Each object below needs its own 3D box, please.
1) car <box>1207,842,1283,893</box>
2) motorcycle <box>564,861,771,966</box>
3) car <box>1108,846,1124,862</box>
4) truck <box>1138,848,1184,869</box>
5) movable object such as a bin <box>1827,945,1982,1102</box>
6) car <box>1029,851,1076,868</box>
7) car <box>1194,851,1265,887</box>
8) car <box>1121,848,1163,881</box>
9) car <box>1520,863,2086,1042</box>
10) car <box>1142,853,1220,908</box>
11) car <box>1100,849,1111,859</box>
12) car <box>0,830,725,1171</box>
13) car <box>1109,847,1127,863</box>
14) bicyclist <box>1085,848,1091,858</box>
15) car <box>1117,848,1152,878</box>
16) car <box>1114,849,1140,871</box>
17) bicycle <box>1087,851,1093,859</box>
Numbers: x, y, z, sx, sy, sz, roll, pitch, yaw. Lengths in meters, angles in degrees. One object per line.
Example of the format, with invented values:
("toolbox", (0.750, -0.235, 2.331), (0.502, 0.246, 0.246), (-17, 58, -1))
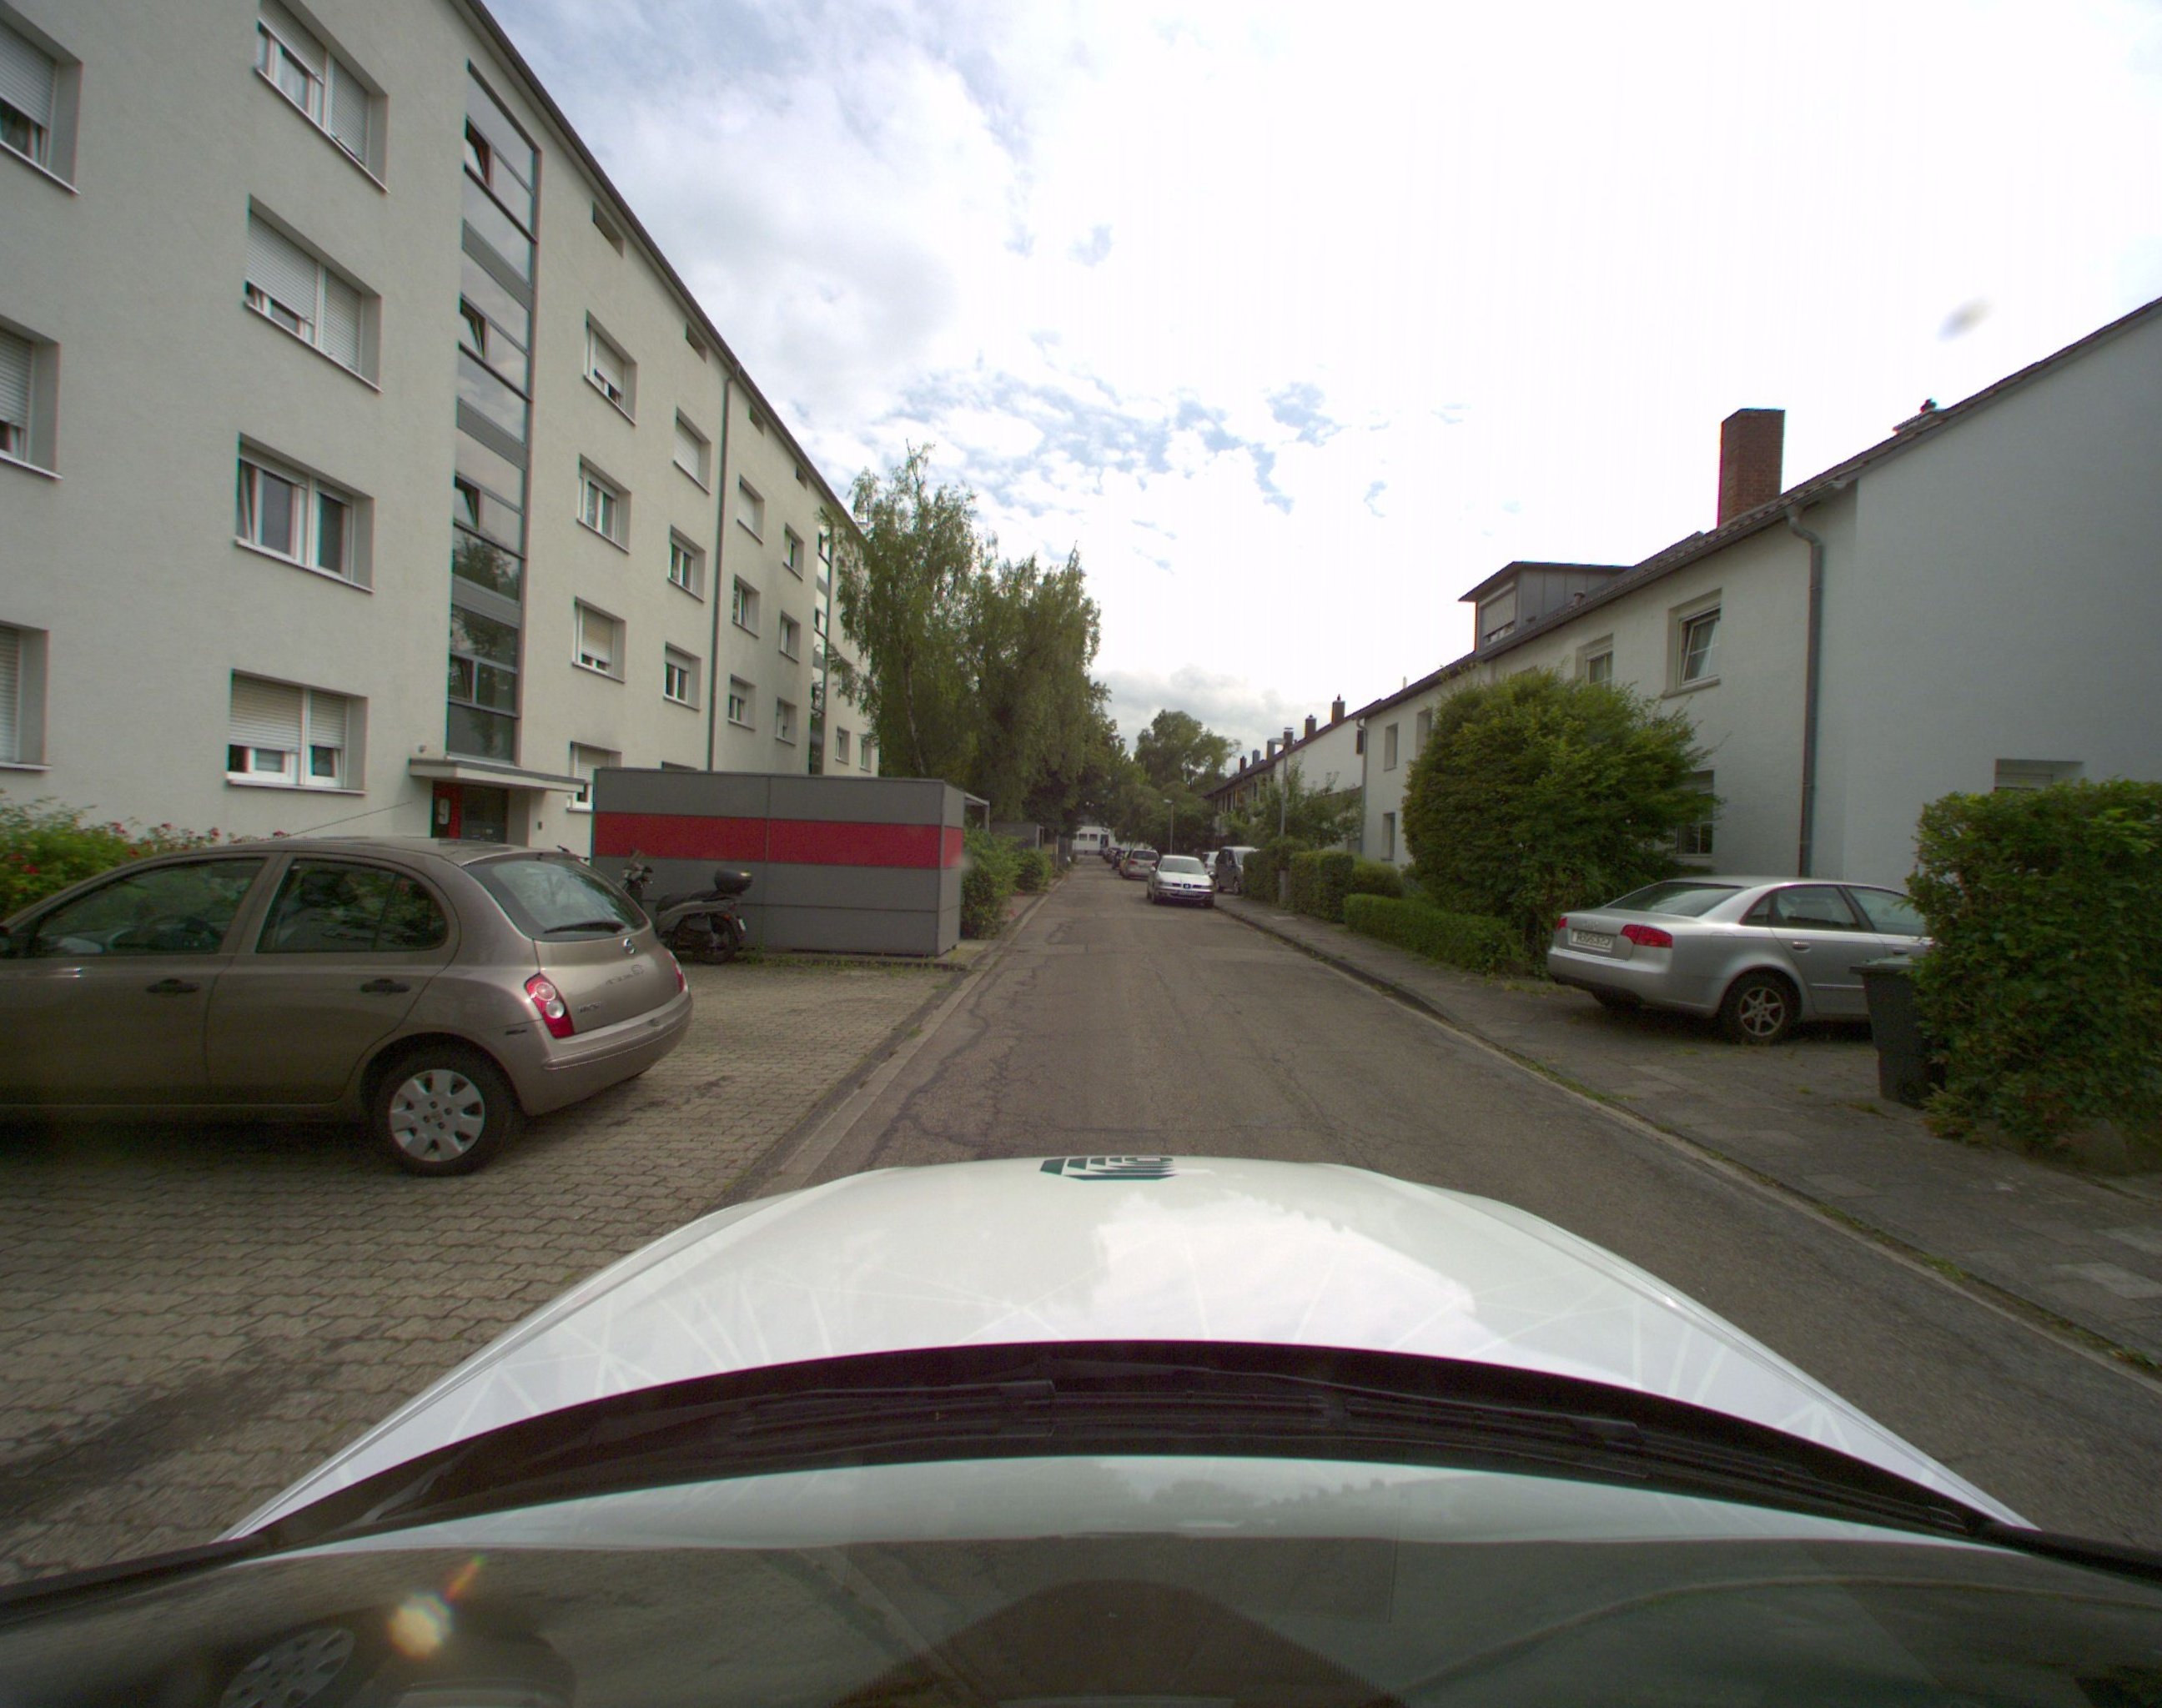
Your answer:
("car", (6.164, 0.490, 31.021), (1.821, 1.777, 4.336), (-1, 0, -3))
("motorcycle", (-4.943, 0.698, 9.809), (2.134, 1.136, 0.635), (2, 2, 0))
("car", (4.242, -0.007, 99.928), (1.818, 1.883, 4.001), (4, 0, 1))
("truck", (7.993, 0.449, 81.355), (4.376, 2.013, 2.000), (0, 0, 0))
("movable object such as a bin", (5.452, 1.103, 5.414), (0.508, 0.921, 0.500), (2, 0, 0))
("car", (-2.449, 0.451, 71.010), (4.018, 1.394, 1.738), (1, 0, -1))
("car", (6.624, 0.660, 36.533), (2.809, 1.569, 1.740), (0, 0, -2))
("car", (3.173, 0.517, 42.909), (1.819, 1.581, 3.999), (4, 0, -1))
("car", (6.668, 0.823, 7.801), (4.014, 1.427, 1.850), (0, 0, -6))
("car", (2.881, 0.720, 24.361), (1.818, 1.370, 4.332), (4, 0, 1))
("car", (4.163, 0.011, 140.691), (1.818, 1.581, 4.001), (4, 0, 1))
("car", (-4.105, 0.641, 4.440), (3.554, 1.480, 1.708), (1, 0, -4))
("car", (3.965, 0.135, 88.169), (1.818, 1.581, 4.001), (4, 0, 1))
("bicyclist", (1.122, -0.200, 128.313), (0.795, 1.511, 0.934), (4, 0, 3))
("car", (3.212, 0.519, 49.504), (1.818, 1.581, 4.001), (4, 0, 1))
("car", (3.518, 0.442, 63.141), (1.818, 1.581, 4.194), (4, 0, 1))
("bicycle", (1.411, 0.146, 128.130), (0.686, 1.131, 2.581), (4, 0, 3))
